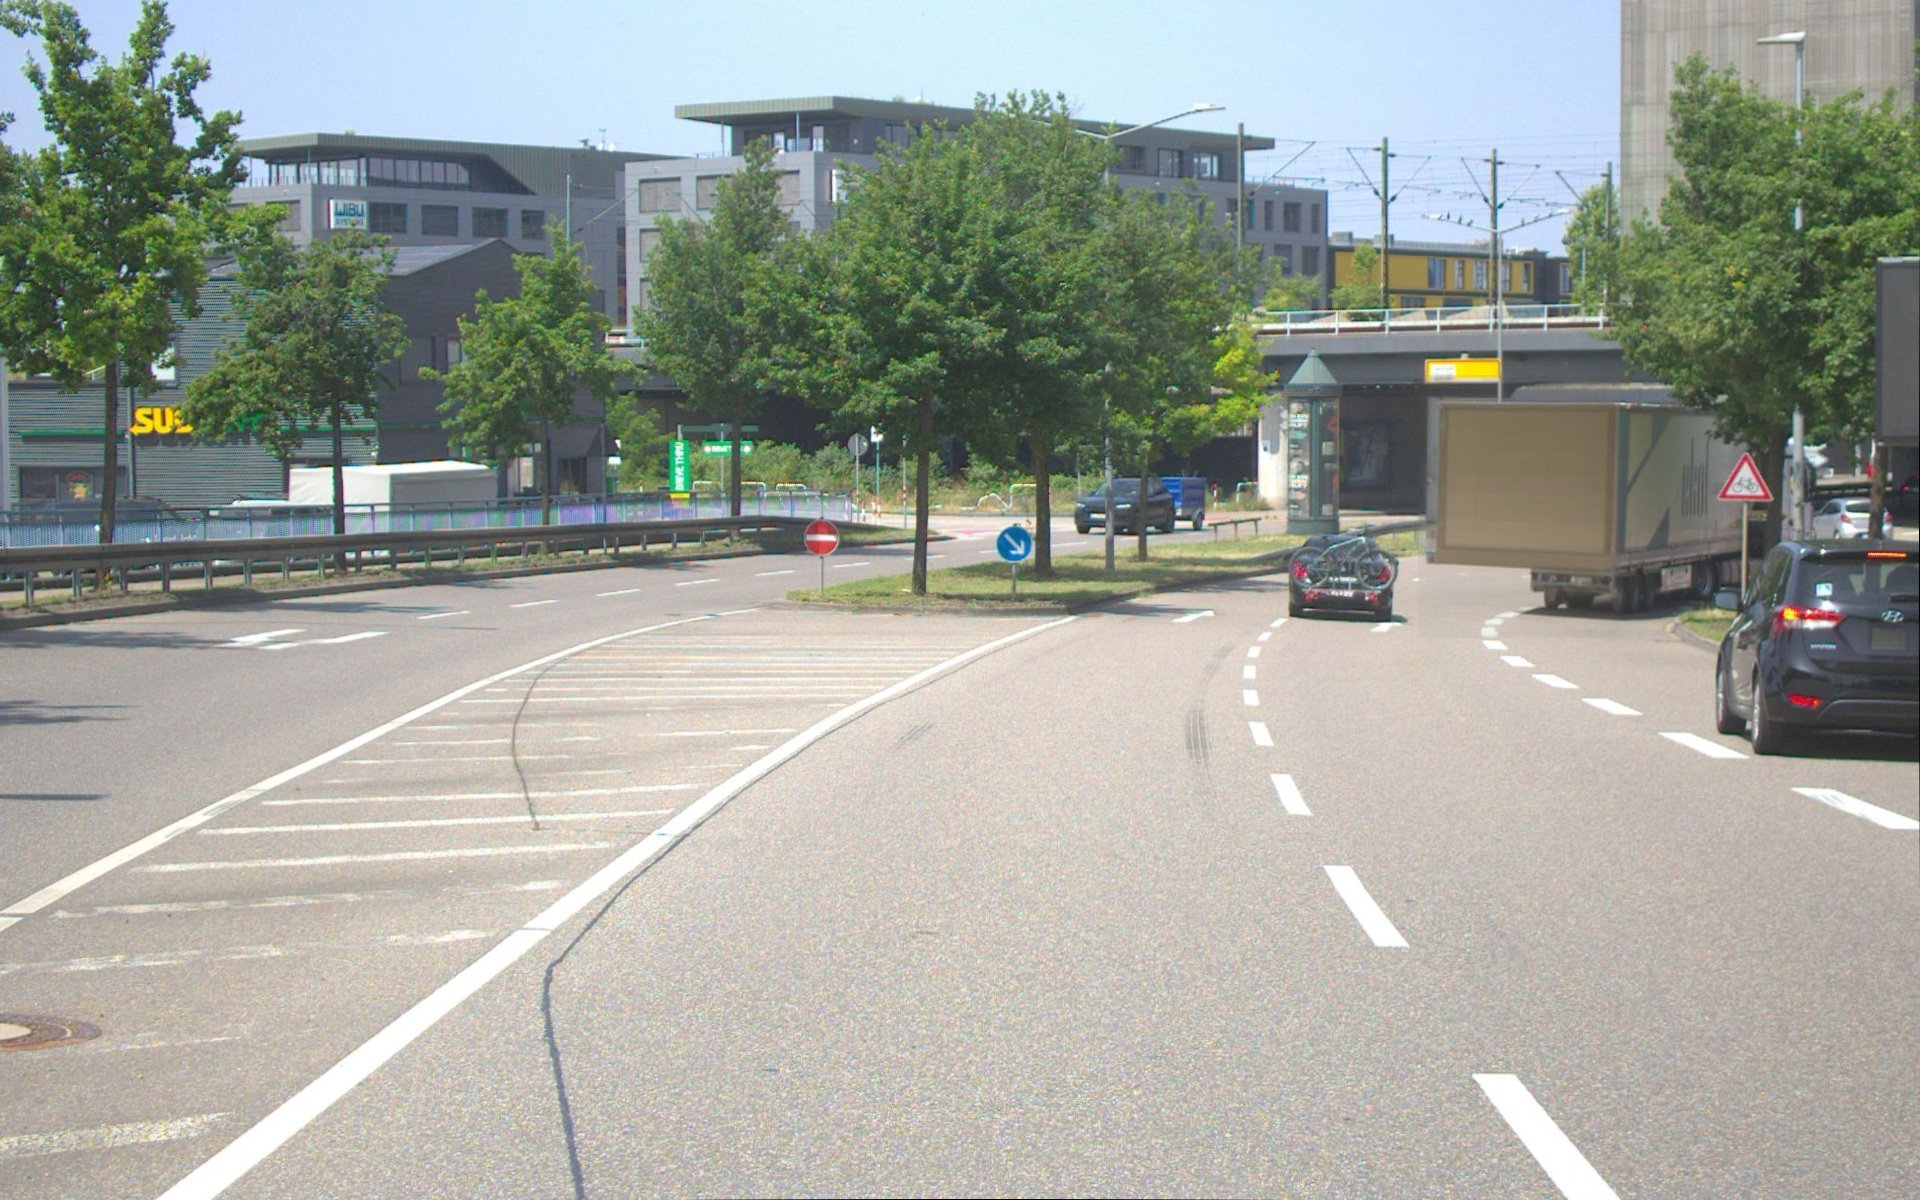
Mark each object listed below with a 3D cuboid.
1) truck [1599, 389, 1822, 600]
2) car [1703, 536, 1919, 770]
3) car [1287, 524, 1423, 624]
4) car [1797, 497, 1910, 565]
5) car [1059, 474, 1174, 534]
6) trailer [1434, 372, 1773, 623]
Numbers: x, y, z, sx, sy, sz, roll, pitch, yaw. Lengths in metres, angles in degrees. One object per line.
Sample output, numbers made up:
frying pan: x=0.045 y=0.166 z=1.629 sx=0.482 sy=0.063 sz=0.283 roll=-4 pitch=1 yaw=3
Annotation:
truck: x=16.759 y=-2.362 z=76.480 sx=3.081 sy=4.353 sz=6.070 roll=5 pitch=4 yaw=27
car: x=6.750 y=0.340 z=26.143 sx=1.767 sy=1.593 sz=4.077 roll=1 pitch=2 yaw=7
car: x=6.857 y=-0.481 z=59.335 sx=1.958 sy=1.628 sz=4.278 roll=0 pitch=1 yaw=12
car: x=27.195 y=-2.109 z=104.758 sx=1.993 sy=2.007 sz=4.001 roll=0 pitch=1 yaw=-6
car: x=4.746 y=-2.893 z=103.796 sx=1.917 sy=1.646 sz=4.402 roll=-4 pitch=0 yaw=24
trailer: x=13.221 y=-2.096 z=69.038 sx=3.082 sy=4.353 sz=14.756 roll=5 pitch=4 yaw=24
